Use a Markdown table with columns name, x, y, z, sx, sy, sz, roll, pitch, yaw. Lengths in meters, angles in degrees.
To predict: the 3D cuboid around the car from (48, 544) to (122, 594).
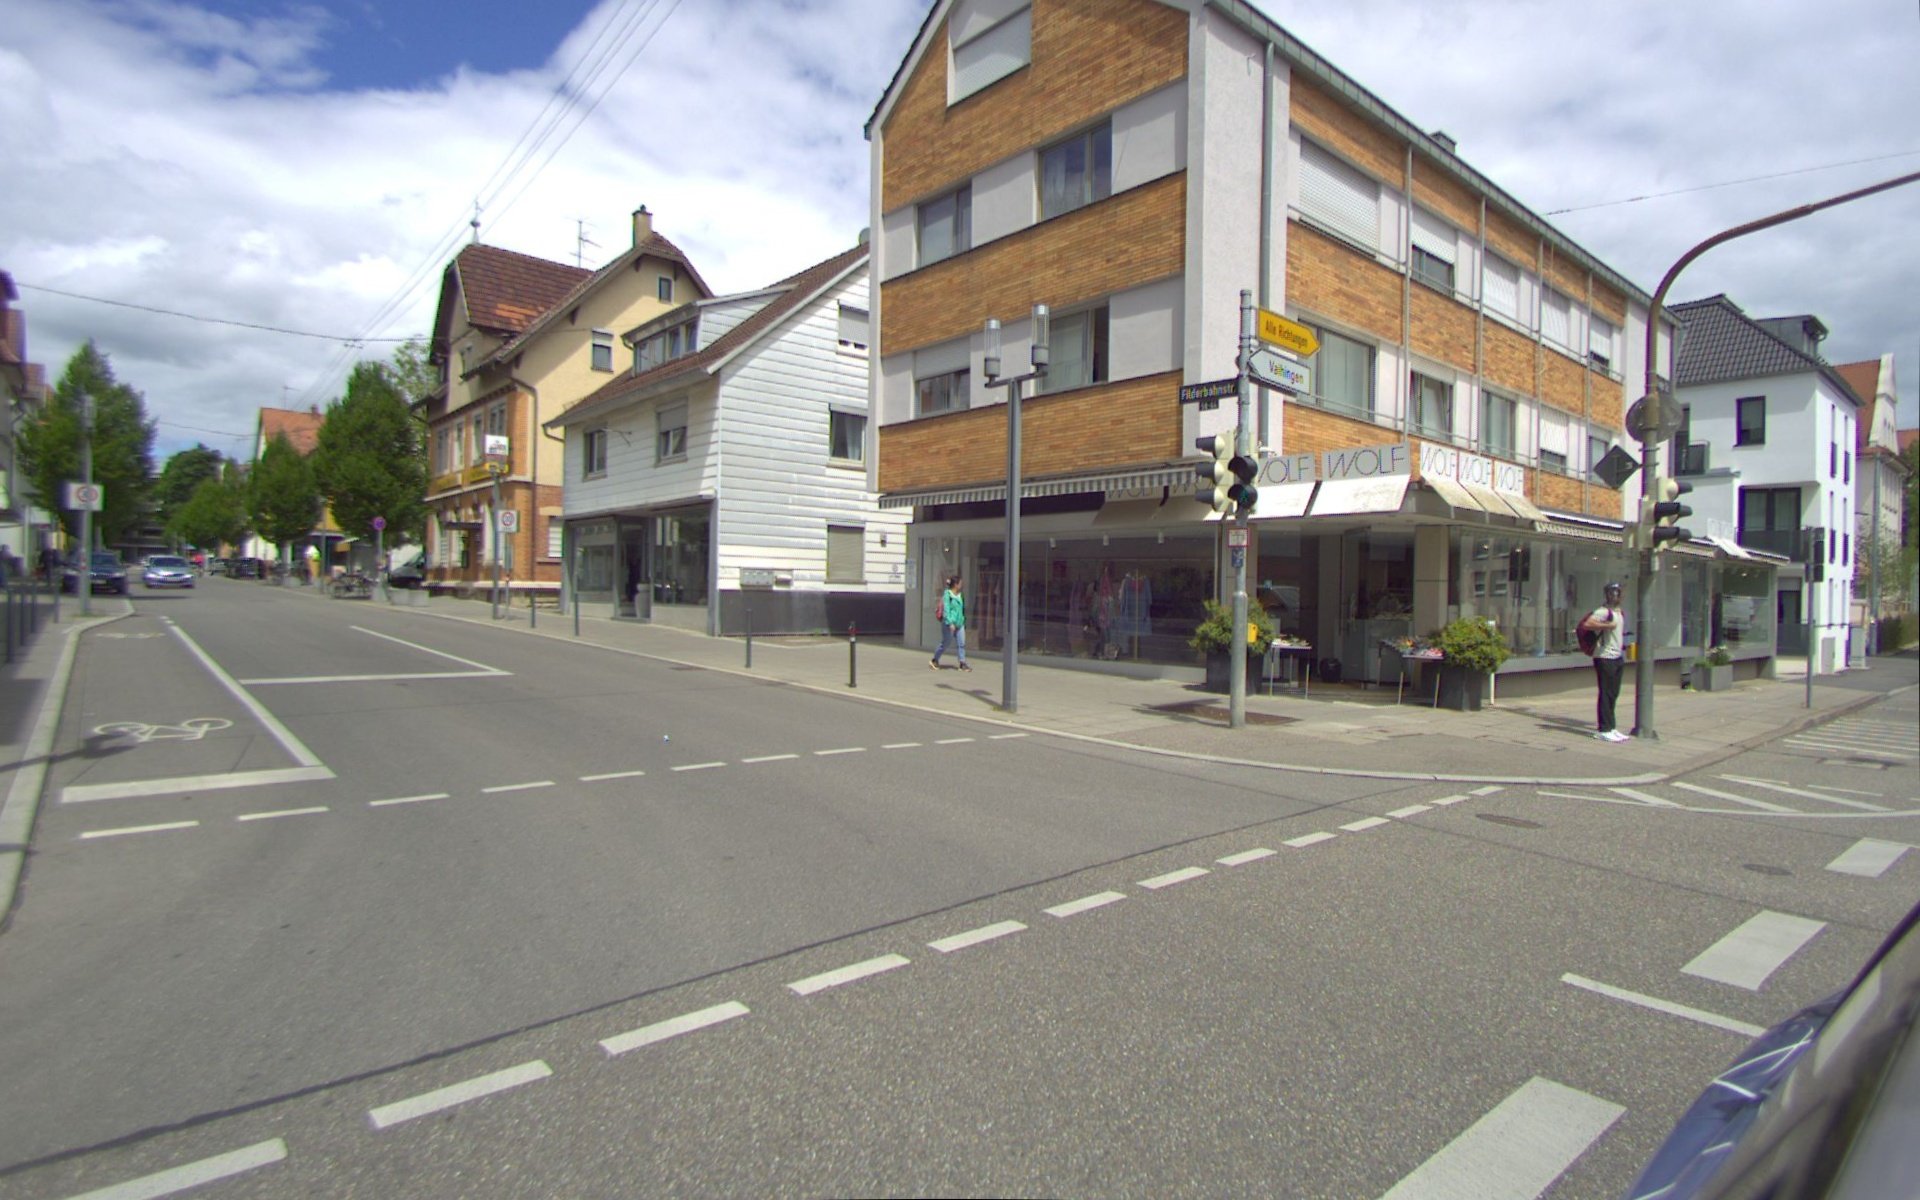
| name | x | y | z | sx | sy | sz | roll | pitch | yaw |
| --- | --- | --- | --- | --- | --- | --- | --- | --- | --- |
| car | -31.595 | -1.080 | 36.526 | 1.796 | 1.672 | 3.989 | -1 | 1 | -44 |

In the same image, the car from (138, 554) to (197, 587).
| name | x | y | z | sx | sy | sz | roll | pitch | yaw |
| --- | --- | --- | --- | --- | --- | --- | --- | --- | --- |
| car | -35.819 | -1.311 | 45.700 | 1.678 | 1.415 | 3.989 | -1 | 1 | -45 |

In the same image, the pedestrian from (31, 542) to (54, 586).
| name | x | y | z | sx | sy | sz | roll | pitch | yaw |
| --- | --- | --- | --- | --- | --- | --- | --- | --- | --- |
| pedestrian | -37.061 | -1.436 | 40.880 | 0.617 | 1.726 | 0.572 | 4 | 2 | 39 |

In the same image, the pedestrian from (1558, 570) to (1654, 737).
| name | x | y | z | sx | sy | sz | roll | pitch | yaw |
| --- | --- | --- | --- | --- | --- | --- | --- | --- | --- |
| pedestrian | 7.537 | 0.598 | 11.845 | 0.605 | 1.836 | 0.772 | 5 | 2 | 17 |

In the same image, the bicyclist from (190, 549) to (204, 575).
| name | x | y | z | sx | sy | sz | roll | pitch | yaw |
| --- | --- | --- | --- | --- | --- | --- | --- | --- | --- |
| bicyclist | -53.853 | -2.653 | 71.430 | 0.681 | 1.783 | 0.944 | -1 | 0 | -40 |

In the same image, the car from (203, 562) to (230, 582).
| name | x | y | z | sx | sy | sz | roll | pitch | yaw |
| --- | --- | --- | --- | --- | --- | --- | --- | --- | --- |
| car | -62.447 | -2.345 | 85.005 | 1.590 | 1.622 | 3.675 | -1 | 1 | -40 |

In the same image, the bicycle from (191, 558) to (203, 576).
| name | x | y | z | sx | sy | sz | roll | pitch | yaw |
| --- | --- | --- | --- | --- | --- | --- | --- | --- | --- |
| bicycle | -53.902 | -2.319 | 71.501 | 0.552 | 1.235 | 1.715 | -1 | 0 | -41 |

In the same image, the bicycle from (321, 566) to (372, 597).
| name | x | y | z | sx | sy | sz | roll | pitch | yaw |
| --- | --- | --- | --- | --- | --- | --- | --- | --- | --- |
| bicycle | -24.587 | -0.734 | 40.586 | 1.688 | 1.235 | 0.561 | -1 | 0 | -41 |

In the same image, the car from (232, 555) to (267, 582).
| name | x | y | z | sx | sy | sz | roll | pitch | yaw |
| --- | --- | --- | --- | --- | --- | --- | --- | --- | --- |
| car | -49.180 | -2.153 | 70.003 | 1.650 | 1.820 | 3.811 | -1 | 1 | -40 |

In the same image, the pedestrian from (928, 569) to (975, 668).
| name | x | y | z | sx | sy | sz | roll | pitch | yaw |
| --- | --- | --- | --- | --- | --- | --- | --- | --- | --- |
| pedestrian | -0.135 | 0.297 | 16.581 | 0.584 | 1.579 | 0.522 | 0 | 0 | 33 |
